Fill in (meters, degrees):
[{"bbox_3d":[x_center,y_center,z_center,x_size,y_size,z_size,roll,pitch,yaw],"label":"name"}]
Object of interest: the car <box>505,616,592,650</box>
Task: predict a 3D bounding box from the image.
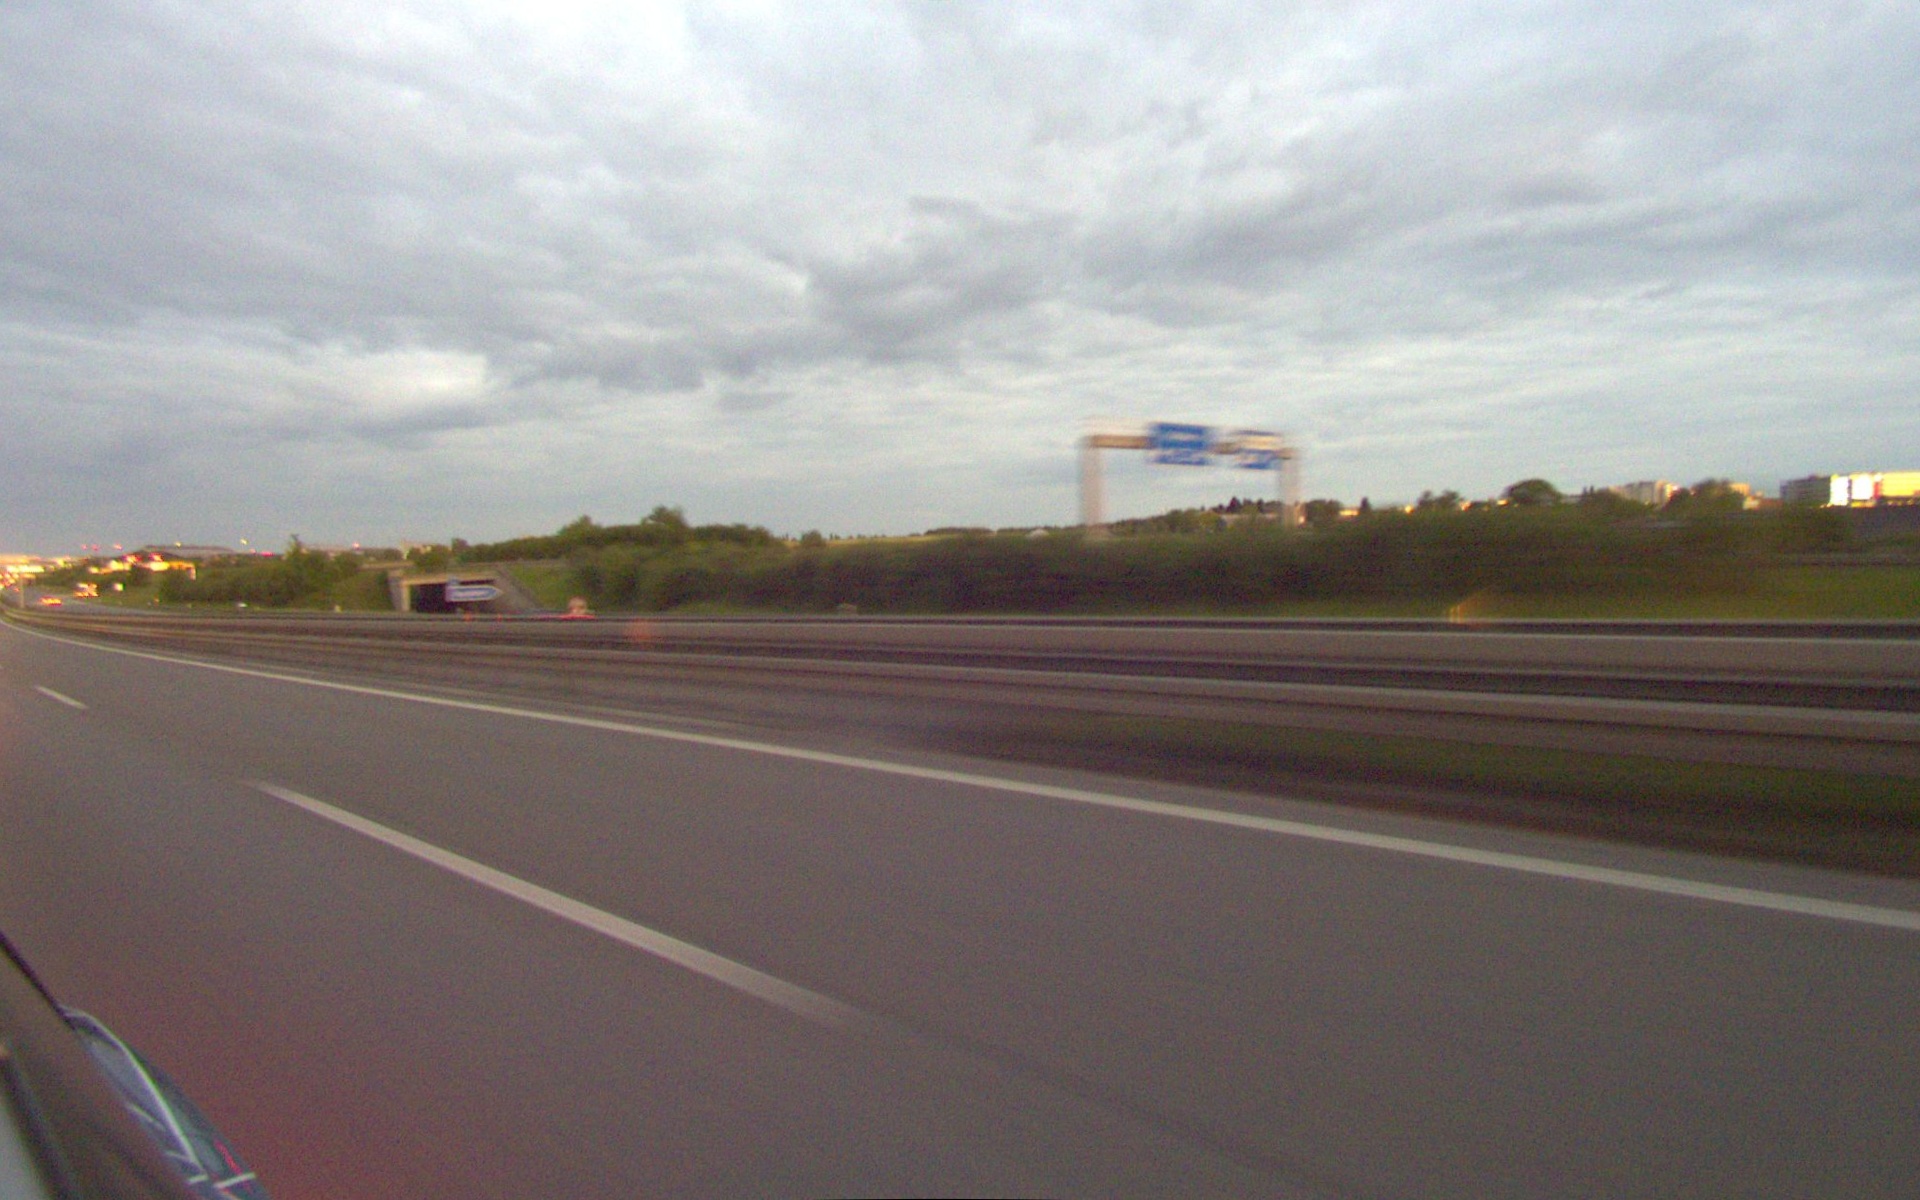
[{"bbox_3d":[-18.961,1.483,46.534,4.328,1.414,1.973,-1,1,41],"label":"car"}]
